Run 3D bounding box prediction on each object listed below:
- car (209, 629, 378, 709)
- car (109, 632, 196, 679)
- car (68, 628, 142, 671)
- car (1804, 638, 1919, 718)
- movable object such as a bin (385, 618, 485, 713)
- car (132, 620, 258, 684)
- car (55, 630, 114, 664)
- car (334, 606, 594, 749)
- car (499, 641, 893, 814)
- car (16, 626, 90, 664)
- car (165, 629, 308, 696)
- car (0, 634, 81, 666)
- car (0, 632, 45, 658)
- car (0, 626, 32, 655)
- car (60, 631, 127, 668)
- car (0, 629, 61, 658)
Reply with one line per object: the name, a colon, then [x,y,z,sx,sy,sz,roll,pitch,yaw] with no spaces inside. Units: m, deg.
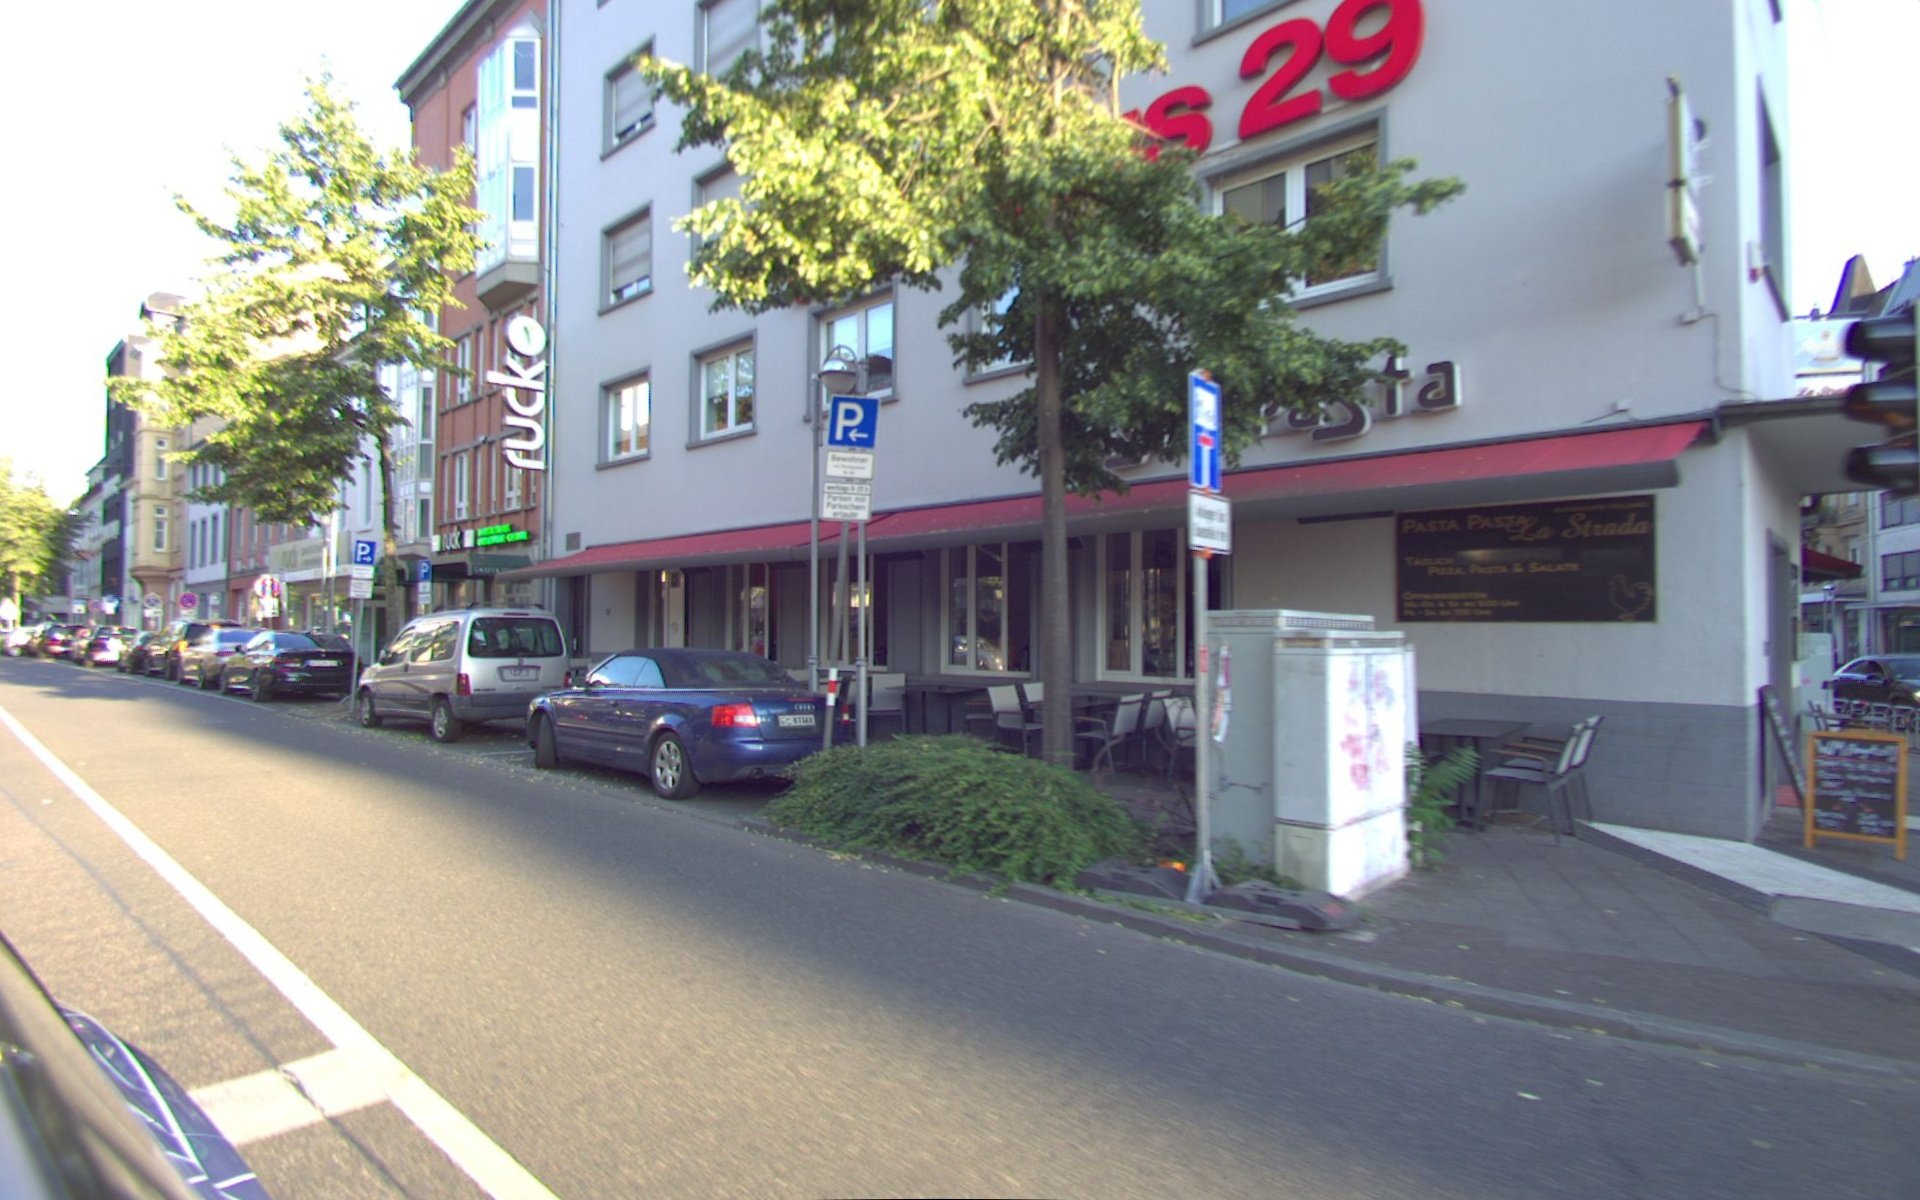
car: [-14.220,1.400,21.487,4.638,1.522,1.894,-2,-4,43]
car: [-27.769,1.876,34.768,4.218,1.522,1.746,-2,-4,44]
car: [-34.070,1.963,40.287,4.218,1.626,1.746,-2,-4,44]
car: [19.100,1.489,20.207,1.906,1.397,4.533,-3,-3,19]
movable object such as a bin: [-10.122,1.229,19.514,1.368,1.685,1.267,-2,1,41]
car: [-23.211,1.549,30.633,5.297,1.783,1.972,-2,-4,41]
car: [-39.997,2.140,46.215,3.543,1.475,1.666,-2,-4,44]
car: [-7.382,1.067,14.918,4.144,1.801,1.895,-2,-4,40]
car: [-2.895,1.151,10.532,4.381,1.397,1.894,-2,-4,43]
car: [-44.003,2.176,49.057,4.213,1.766,2.029,-2,-4,40]
car: [-18.321,1.521,25.515,5.114,1.522,1.971,-2,-4,44]
car: [-48.817,2.598,52.756,2.053,1.594,4.141,-1,-3,38]
car: [-63.921,3.005,67.437,1.995,1.689,4.079,-2,-4,39]
car: [-67.865,2.798,70.720,2.053,1.998,4.141,-1,-3,38]
car: [-37.180,2.108,43.392,3.867,1.475,1.746,-2,-4,44]
car: [-54.518,2.505,58.204,1.957,1.594,3.862,-1,-3,38]
